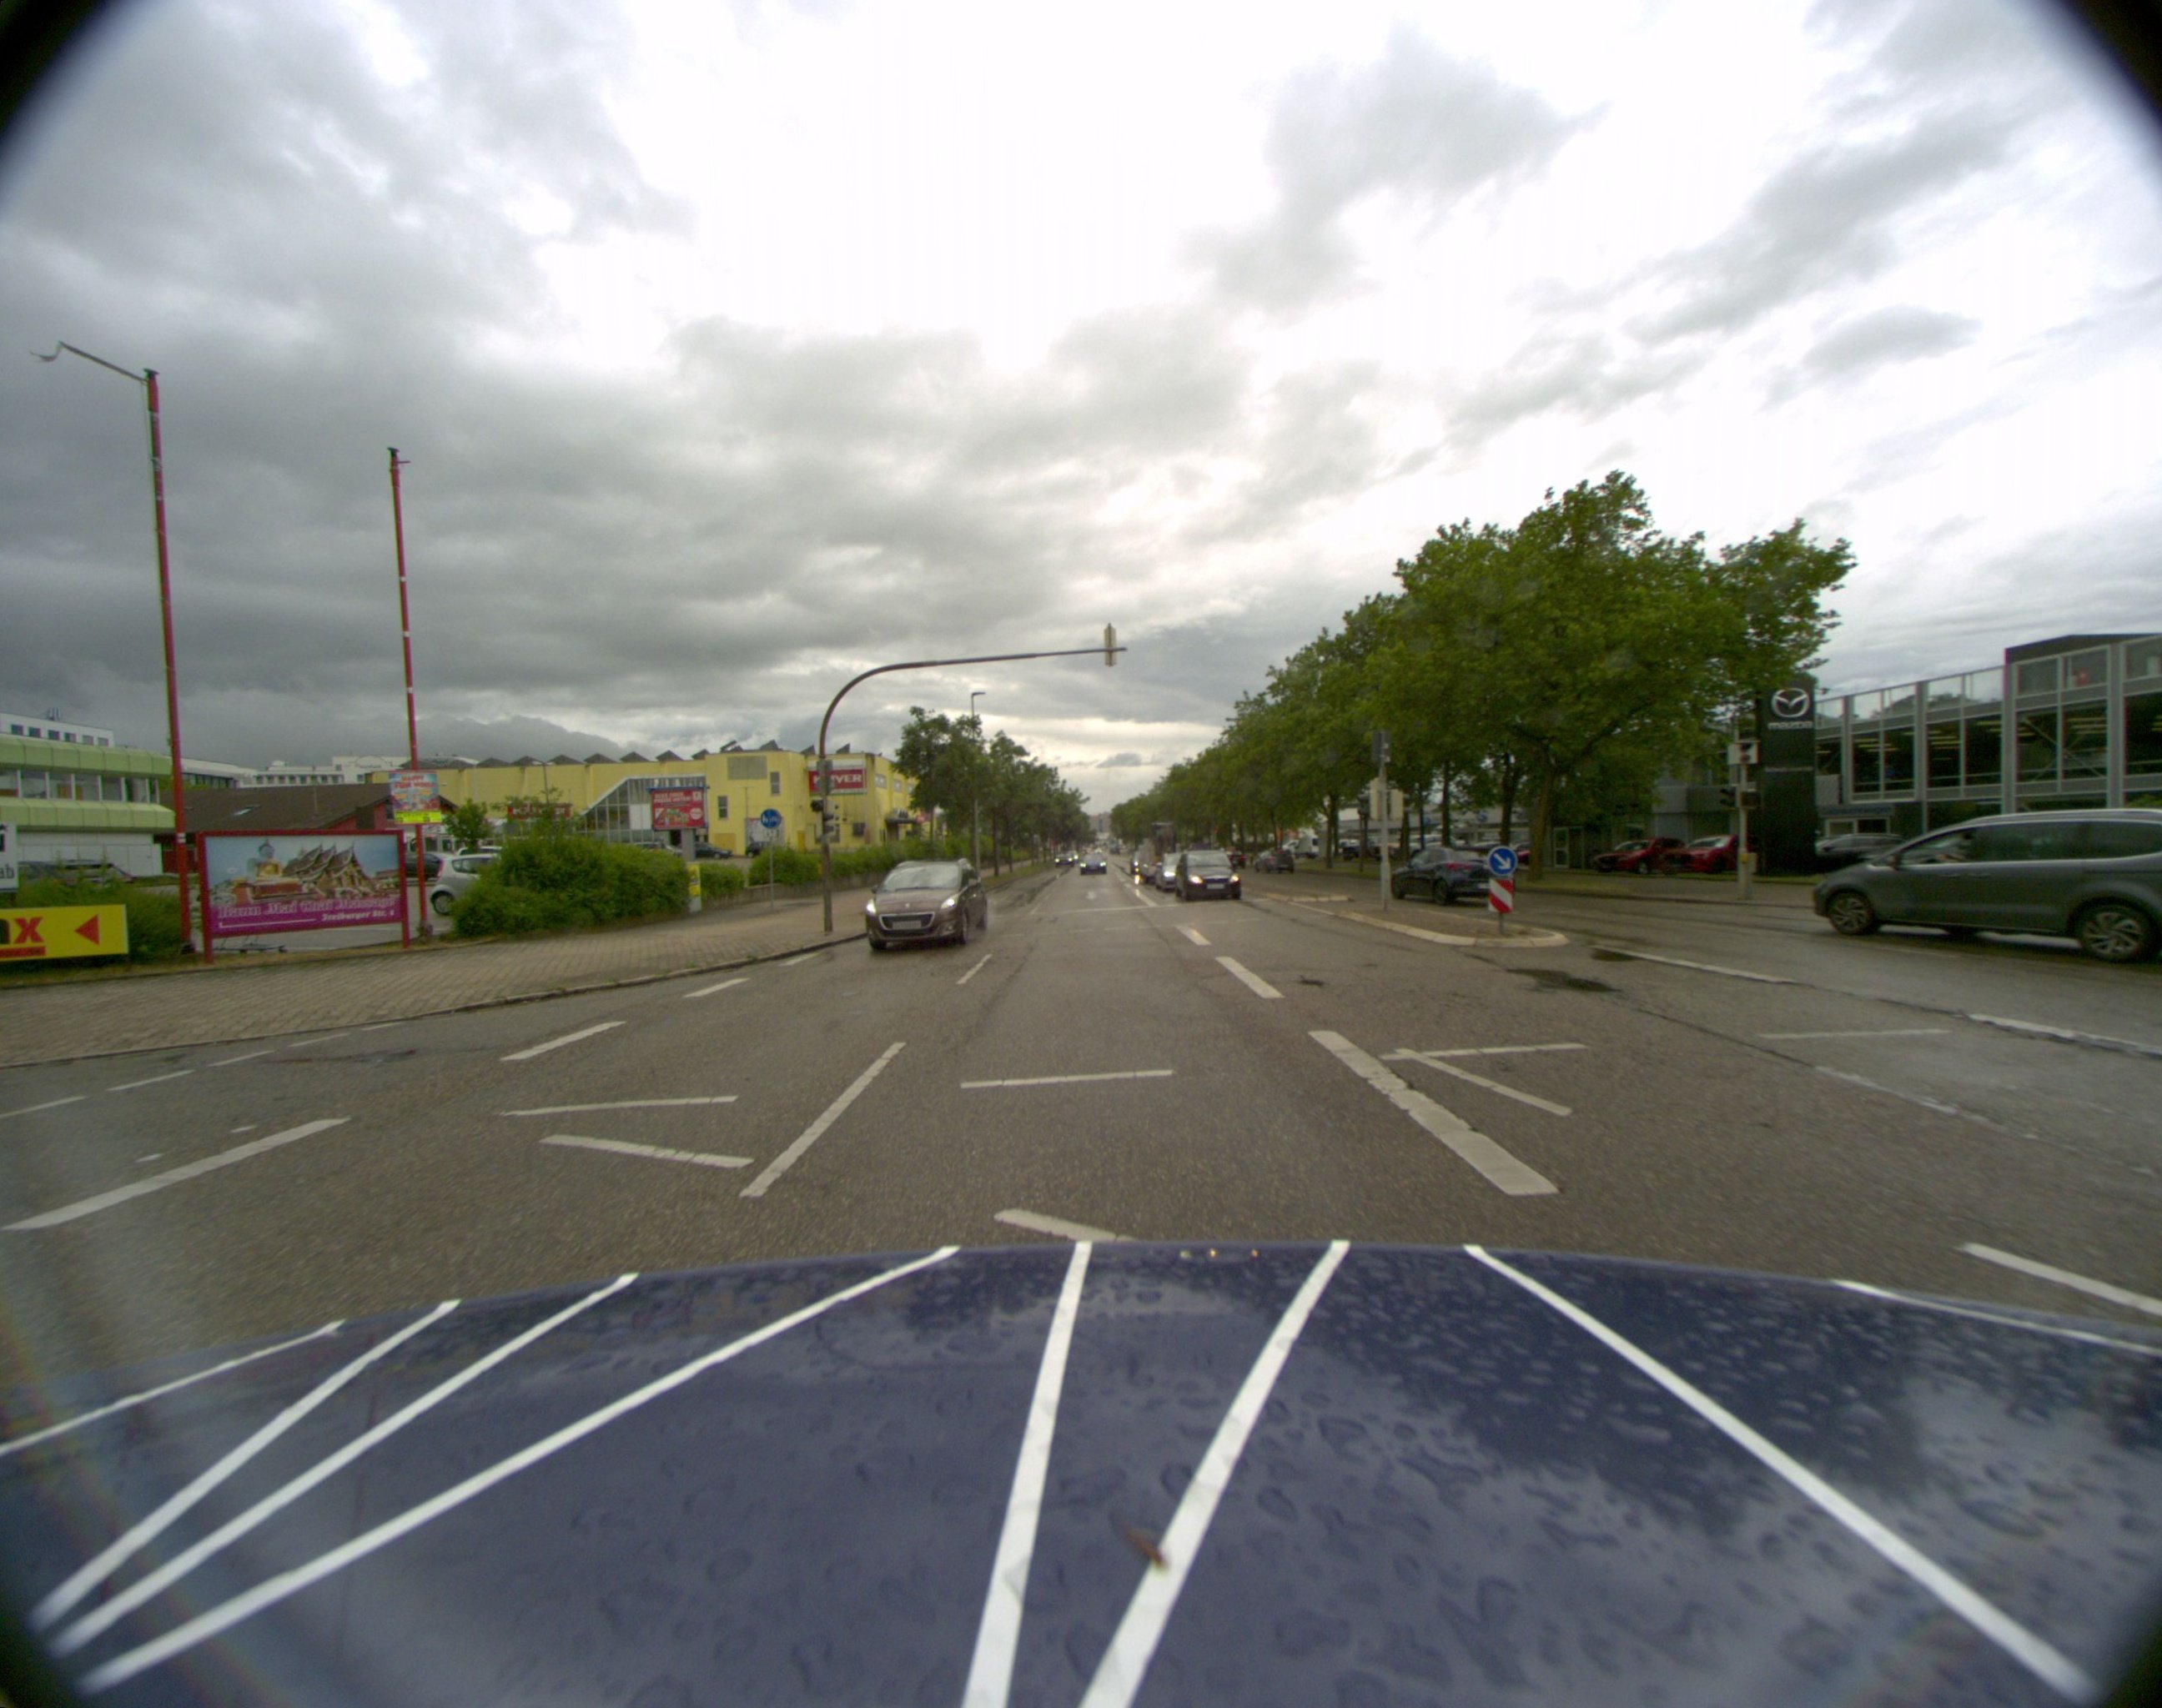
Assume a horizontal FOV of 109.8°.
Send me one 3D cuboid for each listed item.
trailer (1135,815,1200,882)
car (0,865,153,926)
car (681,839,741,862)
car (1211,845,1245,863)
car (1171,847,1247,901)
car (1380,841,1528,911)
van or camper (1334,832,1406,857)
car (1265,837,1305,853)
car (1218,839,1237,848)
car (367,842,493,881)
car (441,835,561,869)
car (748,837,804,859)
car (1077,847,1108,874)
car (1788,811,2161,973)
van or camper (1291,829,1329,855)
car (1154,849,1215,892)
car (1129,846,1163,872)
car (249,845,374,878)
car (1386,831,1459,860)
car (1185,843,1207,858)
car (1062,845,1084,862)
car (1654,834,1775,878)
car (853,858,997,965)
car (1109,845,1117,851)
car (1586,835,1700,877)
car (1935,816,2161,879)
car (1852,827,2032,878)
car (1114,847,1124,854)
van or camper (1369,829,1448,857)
[{"bbox_3d":[3.984,-0.280,36.102,2.378,2.880,5.544,-2,1,0],"label":"trailer"},{"bbox_3d":[-27.591,1.095,20.004,3.996,1.434,2.000,-2,1,3],"label":"car"},{"bbox_3d":[-31.114,-0.275,63.897,3.997,1.769,2.000,-2,1,0],"label":"car"},{"bbox_3d":[11.352,-0.029,58.963,1.715,1.375,4.173,0,1,-1],"label":"car"},{"bbox_3d":[3.913,0.561,23.837,1.717,1.481,4.077,-2,1,1],"label":"car"},{"bbox_3d":[9.362,0.491,19.457,1.715,1.571,3.999,-1,1,-2],"label":"car"},{"bbox_3d":[22.903,-0.756,60.200,5.305,1.811,2.262,-2,1,-24],"label":"van or camper"},{"bbox_3d":[28.866,-1.278,107.701,5.058,2.002,2.129,-2,1,-1],"label":"car"},{"bbox_3d":[23.740,-1.714,123.583,2.123,1.487,5.246,-2,1,0],"label":"car"},{"bbox_3d":[-32.807,0.368,38.382,4.578,1.769,2.000,-2,1,0],"label":"car"},{"bbox_3d":[-33.174,-0.125,43.575,4.981,1.769,2.380,-2,1,0],"label":"car"},{"bbox_3d":[-26.678,-0.488,66.515,3.997,1.769,2.000,-2,1,0],"label":"car"},{"bbox_3d":[0.822,0.399,53.330,1.998,1.633,4.359,-4,2,2],"label":"car"},{"bbox_3d":[12.433,0.362,9.905,1.915,1.717,4.883,-2,1,1],"label":"car"},{"bbox_3d":[23.596,-1.221,78.501,1.998,2.456,6.400,-3,1,2],"label":"van or camper"},{"bbox_3d":[3.907,0.573,29.490,1.770,1.450,4.780,-2,1,1],"label":"car"},{"bbox_3d":[4.290,0.299,50.720,1.912,1.569,4.880,-1,1,1],"label":"car"},{"bbox_3d":[-46.193,0.435,45.721,4.981,1.769,2.380,-2,1,0],"label":"car"},{"bbox_3d":[23.656,-0.605,52.591,4.472,1.805,1.996,-2,1,-21],"label":"car"},{"bbox_3d":[12.223,-0.398,81.138,1.714,1.456,4.084,-1,1,0],"label":"car"},{"bbox_3d":[-0.805,-0.074,80.168,1.998,1.633,4.359,-4,2,2],"label":"car"},{"bbox_3d":[25.798,0.047,30.937,4.236,1.644,2.008,-1,2,-22],"label":"car"},{"bbox_3d":[-2.932,1.002,15.275,1.730,1.615,4.470,-5,1,1],"label":"car"},{"bbox_3d":[8.034,-1.552,191.497,1.767,1.522,3.858,0,1,2],"label":"car"},{"bbox_3d":[25.388,0.059,34.330,4.573,1.587,1.996,-3,1,-21],"label":"car"},{"bbox_3d":[25.710,-0.166,20.223,3.990,1.480,1.878,-2,1,-3],"label":"car"},{"bbox_3d":[26.202,-0.062,23.191,3.750,1.383,1.690,-2,1,-3],"label":"car"},{"bbox_3d":[8.482,-0.795,170.486,1.671,1.454,4.178,-1,1,-4],"label":"car"},{"bbox_3d":[24.055,-0.833,55.873,5.380,1.760,2.100,-2,4,-21],"label":"van or camper"}]
